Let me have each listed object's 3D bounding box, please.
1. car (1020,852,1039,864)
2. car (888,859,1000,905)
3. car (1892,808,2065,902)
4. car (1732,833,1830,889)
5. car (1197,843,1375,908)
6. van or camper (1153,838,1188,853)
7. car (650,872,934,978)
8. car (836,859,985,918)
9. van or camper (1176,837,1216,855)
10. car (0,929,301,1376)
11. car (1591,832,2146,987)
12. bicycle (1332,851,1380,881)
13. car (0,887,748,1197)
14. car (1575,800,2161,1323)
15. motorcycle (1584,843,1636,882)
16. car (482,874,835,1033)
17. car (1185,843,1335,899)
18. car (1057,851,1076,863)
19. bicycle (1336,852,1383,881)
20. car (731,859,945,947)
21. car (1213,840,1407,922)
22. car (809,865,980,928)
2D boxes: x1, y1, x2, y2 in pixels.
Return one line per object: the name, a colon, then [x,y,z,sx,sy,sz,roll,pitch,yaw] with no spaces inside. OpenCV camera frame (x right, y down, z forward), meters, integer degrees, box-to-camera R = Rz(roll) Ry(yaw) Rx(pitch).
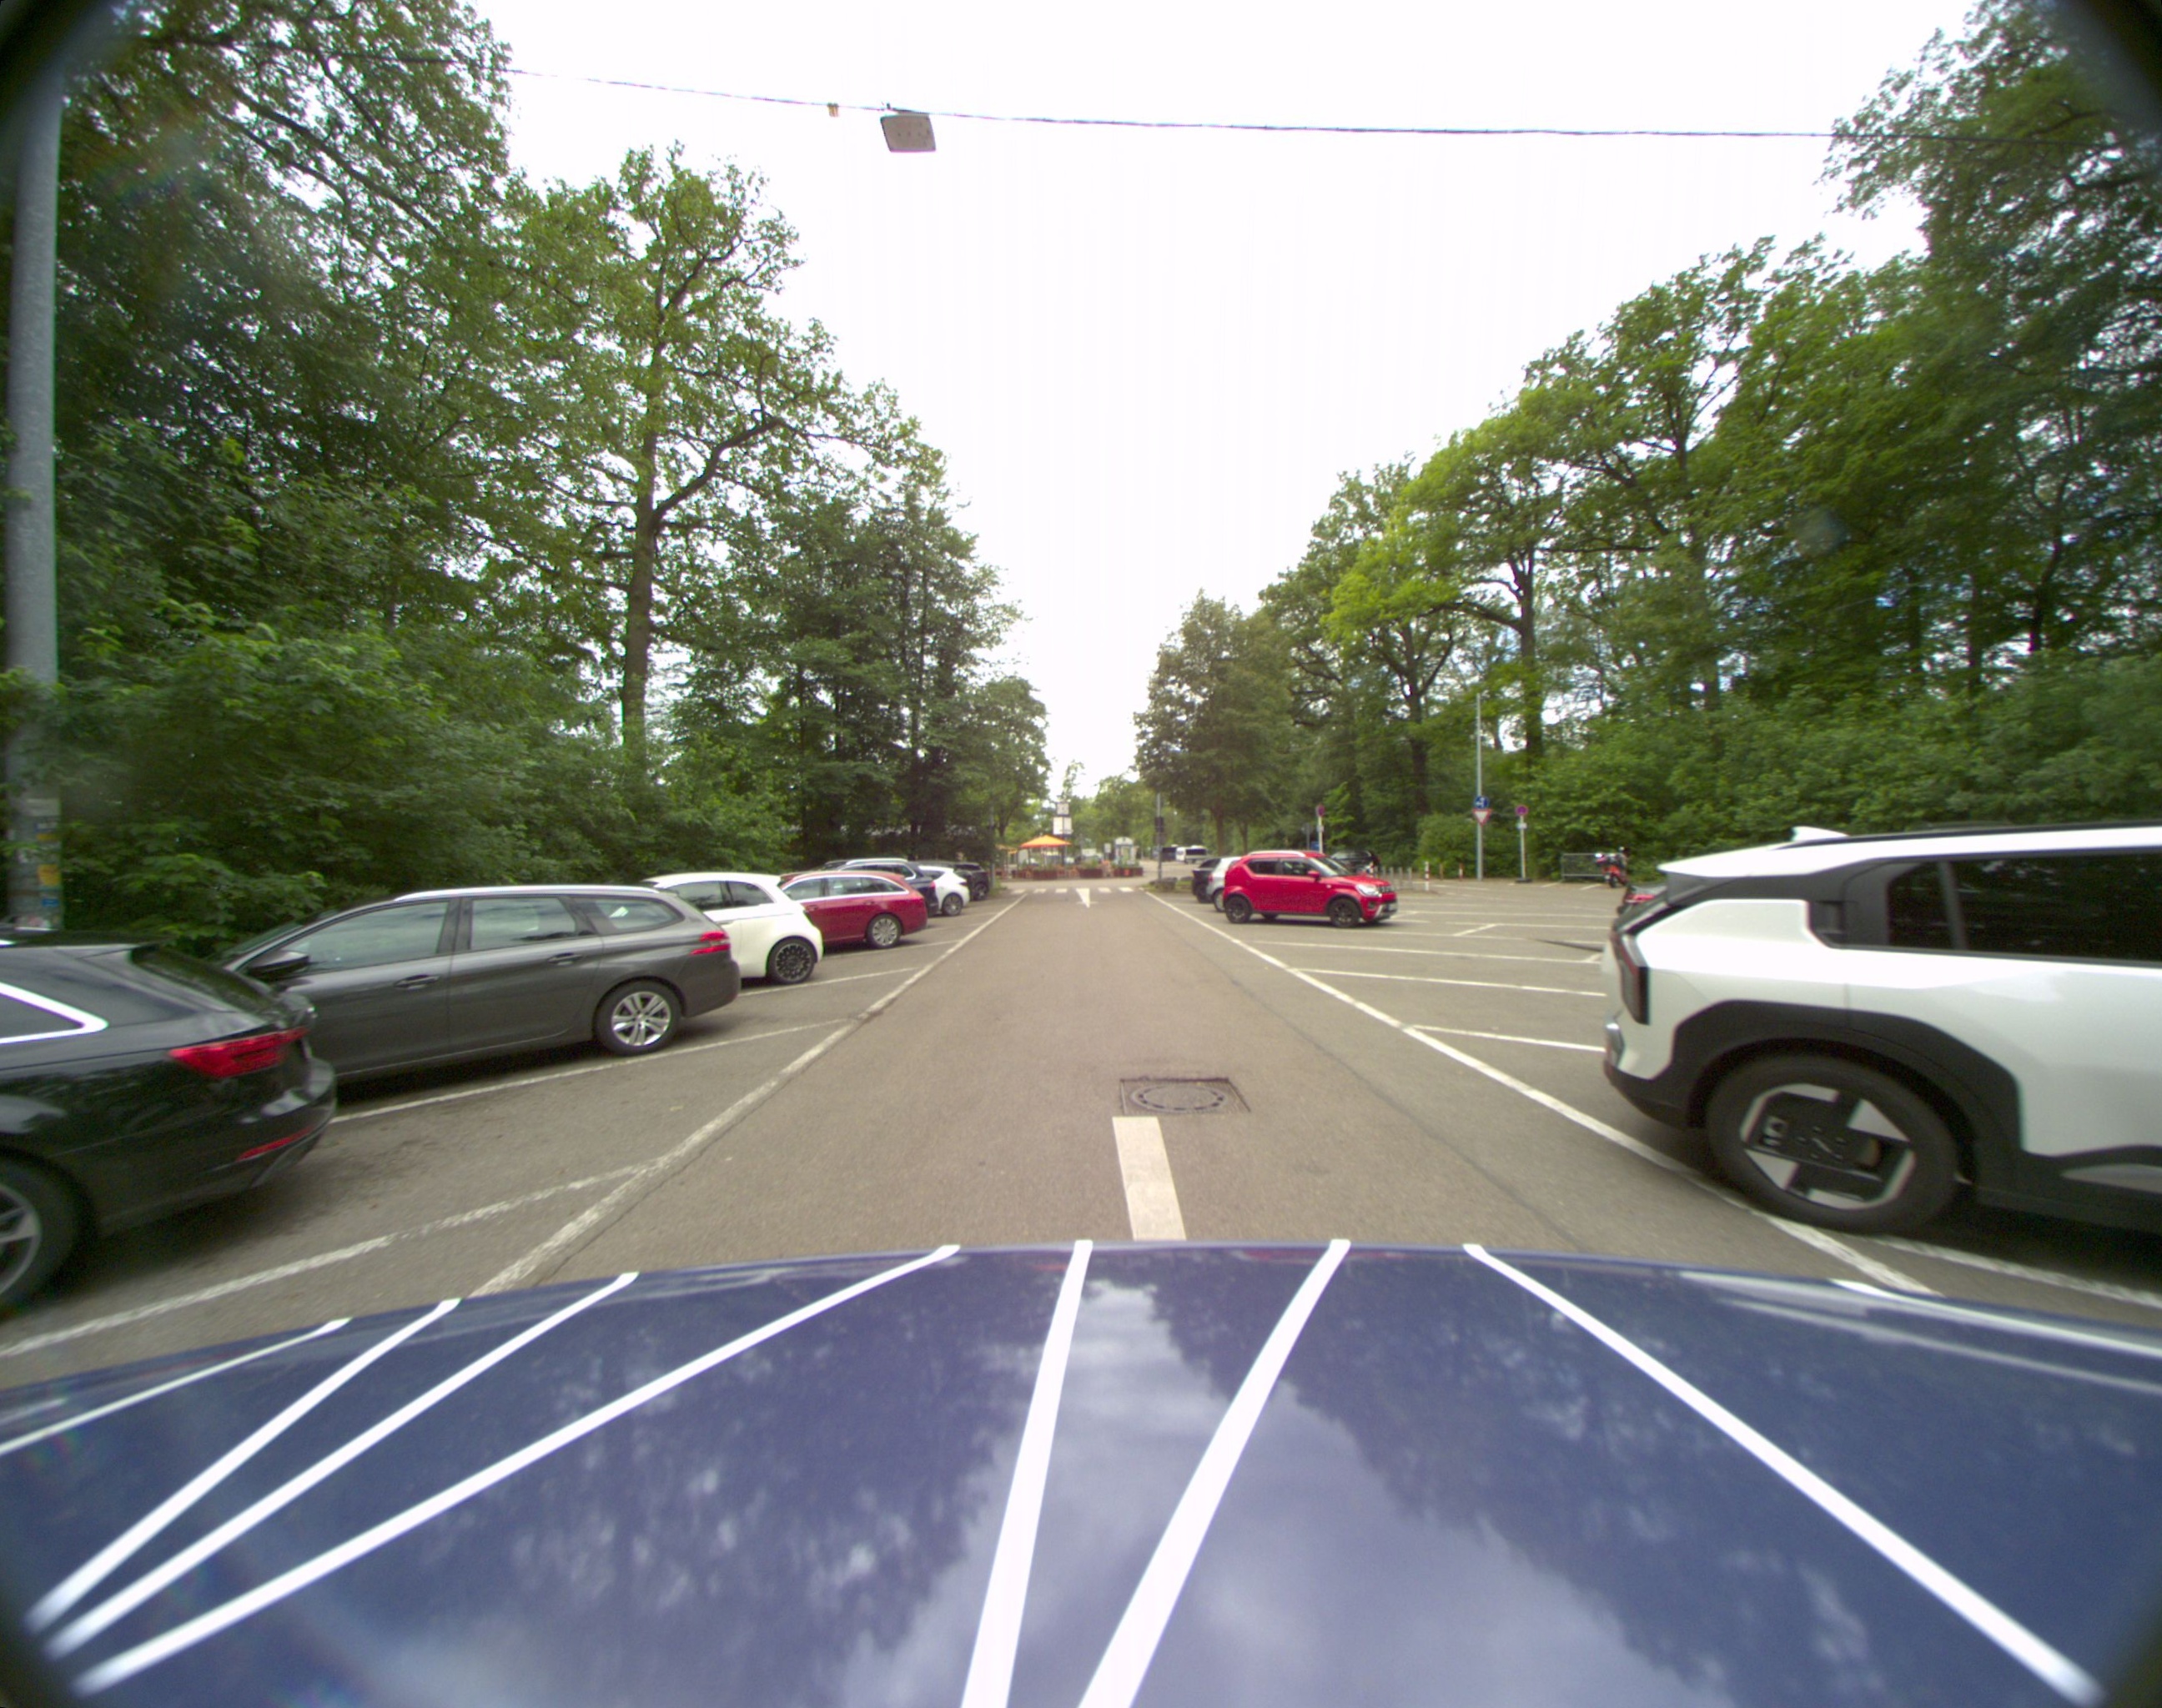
car: [-7.591,0.578,112.609,1.879,1.769,4.289,-2,0,-17]
car: [-5.088,0.995,28.489,1.695,1.483,3.799,-1,1,44]
car: [19.356,-0.013,16.613,4.718,1.756,2.106,-2,0,-44]
car: [19.165,0.148,20.737,4.008,1.368,1.735,-2,1,-44]
car: [5.226,0.525,19.632,3.989,1.475,1.880,-1,1,43]
van or camper: [17.747,-1.698,150.499,7.353,2.833,2.198,-2,1,-35]
car: [-5.043,1.127,13.588,4.304,1.405,1.923,-2,1,-40]
car: [-5.345,1.018,24.176,1.952,1.571,4.211,-1,1,43]
van or camper: [19.184,-1.420,126.663,7.354,2.833,2.063,-2,1,-40]
car: [-5.405,1.150,2.234,1.960,1.369,4.271,-1,0,43]
car: [8.910,0.535,9.189,4.304,1.433,1.873,-1,0,42]
bicycle: [10.845,0.464,29.987,1.683,1.105,0.506,-2,1,6]
car: [-5.144,1.098,5.998,4.195,1.449,1.800,-2,0,-44]
car: [4.329,0.605,2.573,4.178,1.587,1.850,-1,0,43]
motorcycle: [17.745,0.274,25.471,2.033,1.201,0.729,-2,1,-34]
car: [-5.247,1.074,9.685,3.589,1.496,1.730,-2,0,-43]
car: [5.381,0.490,23.229,1.834,1.514,4.089,-2,1,-42]
car: [-2.199,0.502,114.136,1.879,1.769,4.289,-2,0,-17]
bicycle: [11.331,0.516,30.960,1.695,1.105,0.483,-2,1,8]
car: [-5.339,0.987,17.011,4.127,1.608,1.837,-2,1,-42]
car: [4.891,0.545,16.480,3.644,1.576,1.690,-1,0,42]
car: [-5.054,1.088,20.883,4.127,1.430,1.864,-2,1,-42]
